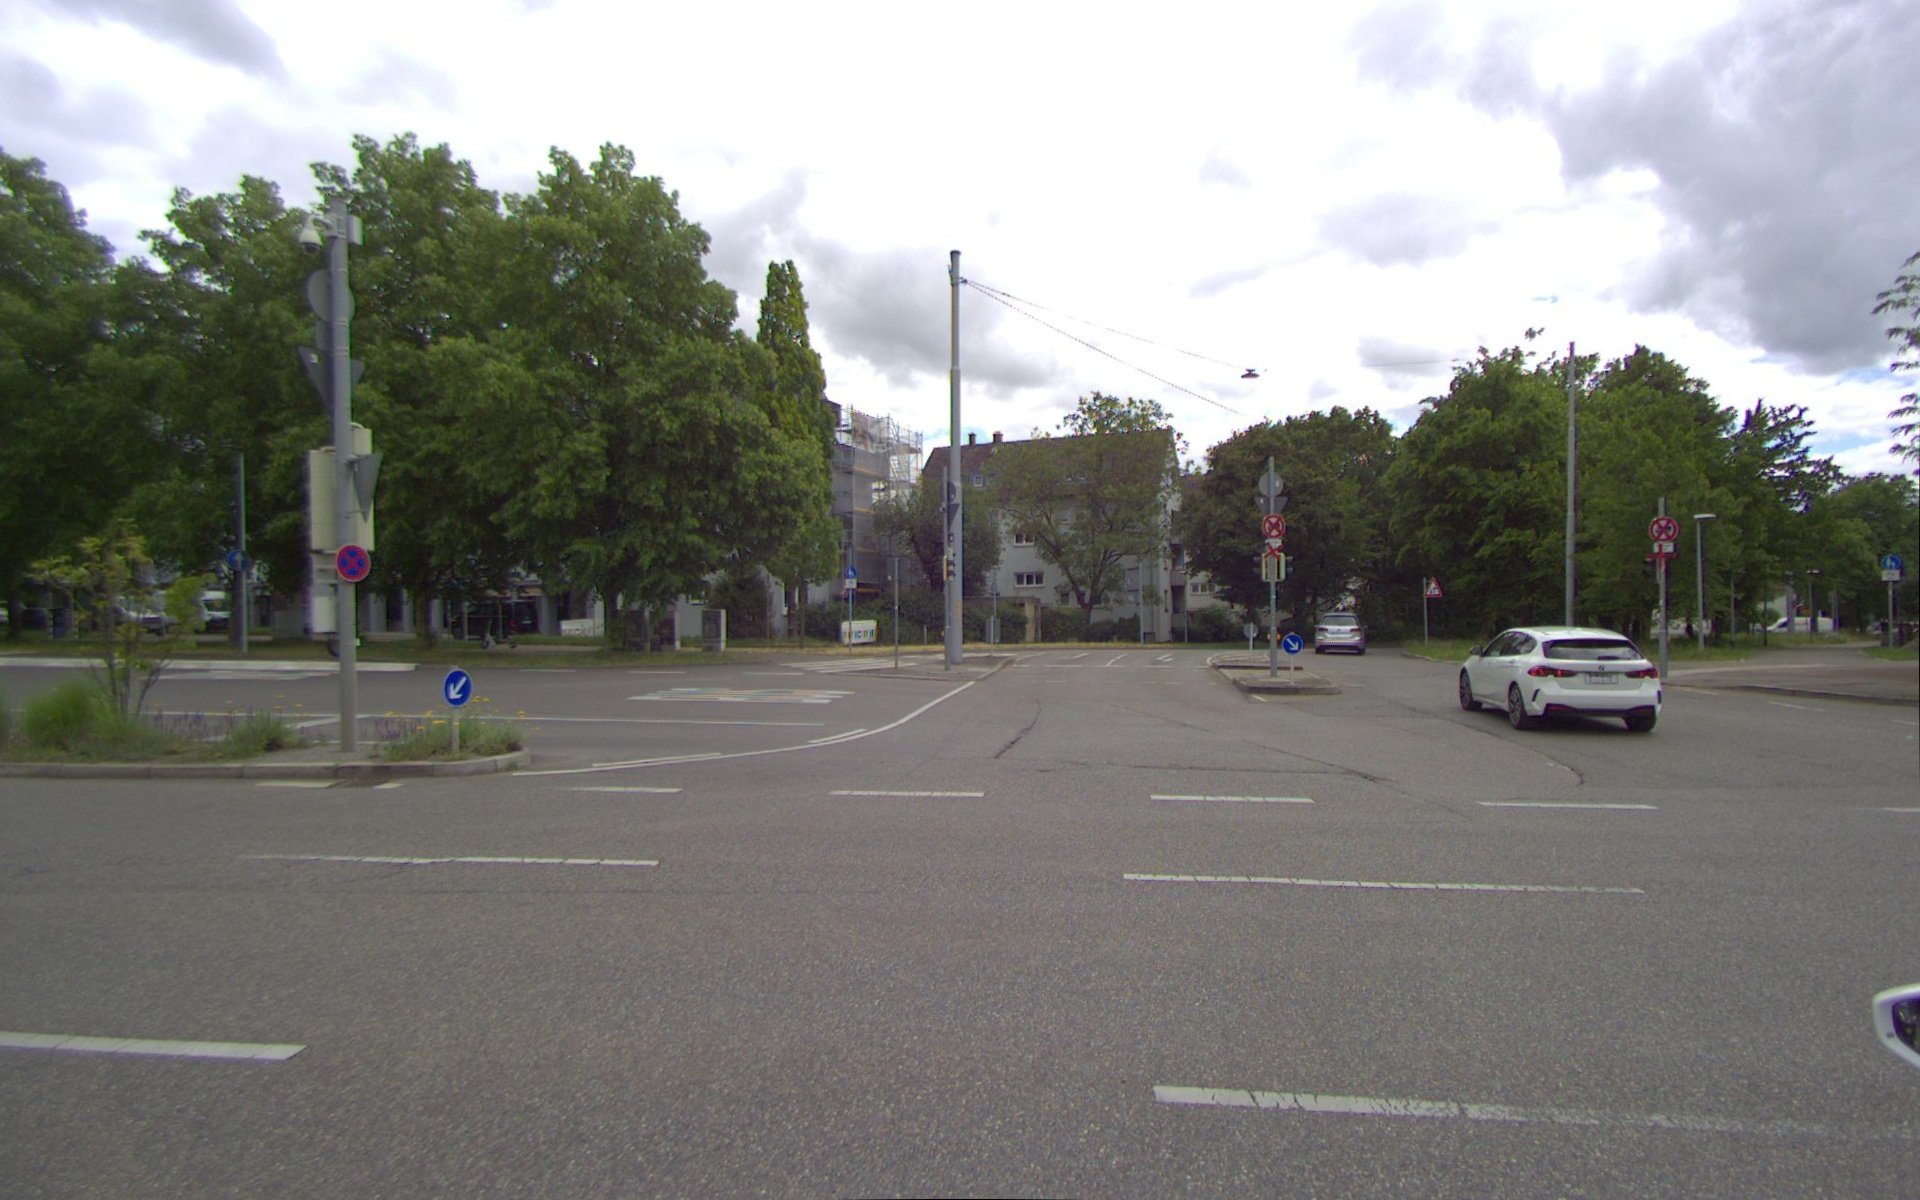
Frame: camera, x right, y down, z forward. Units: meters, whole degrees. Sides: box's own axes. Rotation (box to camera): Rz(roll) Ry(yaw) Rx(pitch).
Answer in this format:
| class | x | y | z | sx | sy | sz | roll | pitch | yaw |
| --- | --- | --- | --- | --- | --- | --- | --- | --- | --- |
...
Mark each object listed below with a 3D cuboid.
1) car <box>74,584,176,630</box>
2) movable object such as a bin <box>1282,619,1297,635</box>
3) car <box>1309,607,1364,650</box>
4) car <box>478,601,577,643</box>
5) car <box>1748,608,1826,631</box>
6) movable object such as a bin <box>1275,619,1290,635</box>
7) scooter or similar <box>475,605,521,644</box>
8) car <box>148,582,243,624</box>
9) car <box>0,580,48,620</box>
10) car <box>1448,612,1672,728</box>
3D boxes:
| class | x | y | z | sx | sy | sz | roll | pitch | yaw |
| --- | --- | --- | --- | --- | --- | --- | --- | --- | --- |
| car | -43.952 | 0.328 | 52.856 | 5.206 | 2.145 | 2.218 | 2 | 1 | 26 |
| movable object such as a bin | 18.278 | 1.509 | 55.693 | 0.568 | 0.856 | 0.599 | 1 | 1 | -13 |
| car | 14.650 | 1.097 | 38.983 | 1.892 | 1.595 | 3.999 | 0 | -1 | 22 |
| car | -17.885 | 0.891 | 41.538 | 3.877 | 1.691 | 1.646 | 0 | -1 | 27 |
| car | 98.698 | 2.334 | 120.034 | 6.842 | 2.556 | 2.085 | 1 | 1 | 19 |
| movable object such as a bin | 17.824 | 1.502 | 55.523 | 0.568 | 0.878 | 0.599 | 1 | 1 | -13 |
| scooter or similar | -17.708 | 0.943 | 38.492 | 1.570 | 1.465 | 0.552 | 1 | 1 | -25 |
| car | -45.634 | 0.148 | 59.926 | 5.389 | 2.284 | 2.316 | 2 | 1 | 26 |
| car | -55.327 | -0.030 | 57.872 | 5.389 | 2.120 | 2.316 | 2 | 1 | 26 |
| car | 9.189 | 1.014 | 15.812 | 1.765 | 1.537 | 4.210 | 1 | -1 | 12 |
